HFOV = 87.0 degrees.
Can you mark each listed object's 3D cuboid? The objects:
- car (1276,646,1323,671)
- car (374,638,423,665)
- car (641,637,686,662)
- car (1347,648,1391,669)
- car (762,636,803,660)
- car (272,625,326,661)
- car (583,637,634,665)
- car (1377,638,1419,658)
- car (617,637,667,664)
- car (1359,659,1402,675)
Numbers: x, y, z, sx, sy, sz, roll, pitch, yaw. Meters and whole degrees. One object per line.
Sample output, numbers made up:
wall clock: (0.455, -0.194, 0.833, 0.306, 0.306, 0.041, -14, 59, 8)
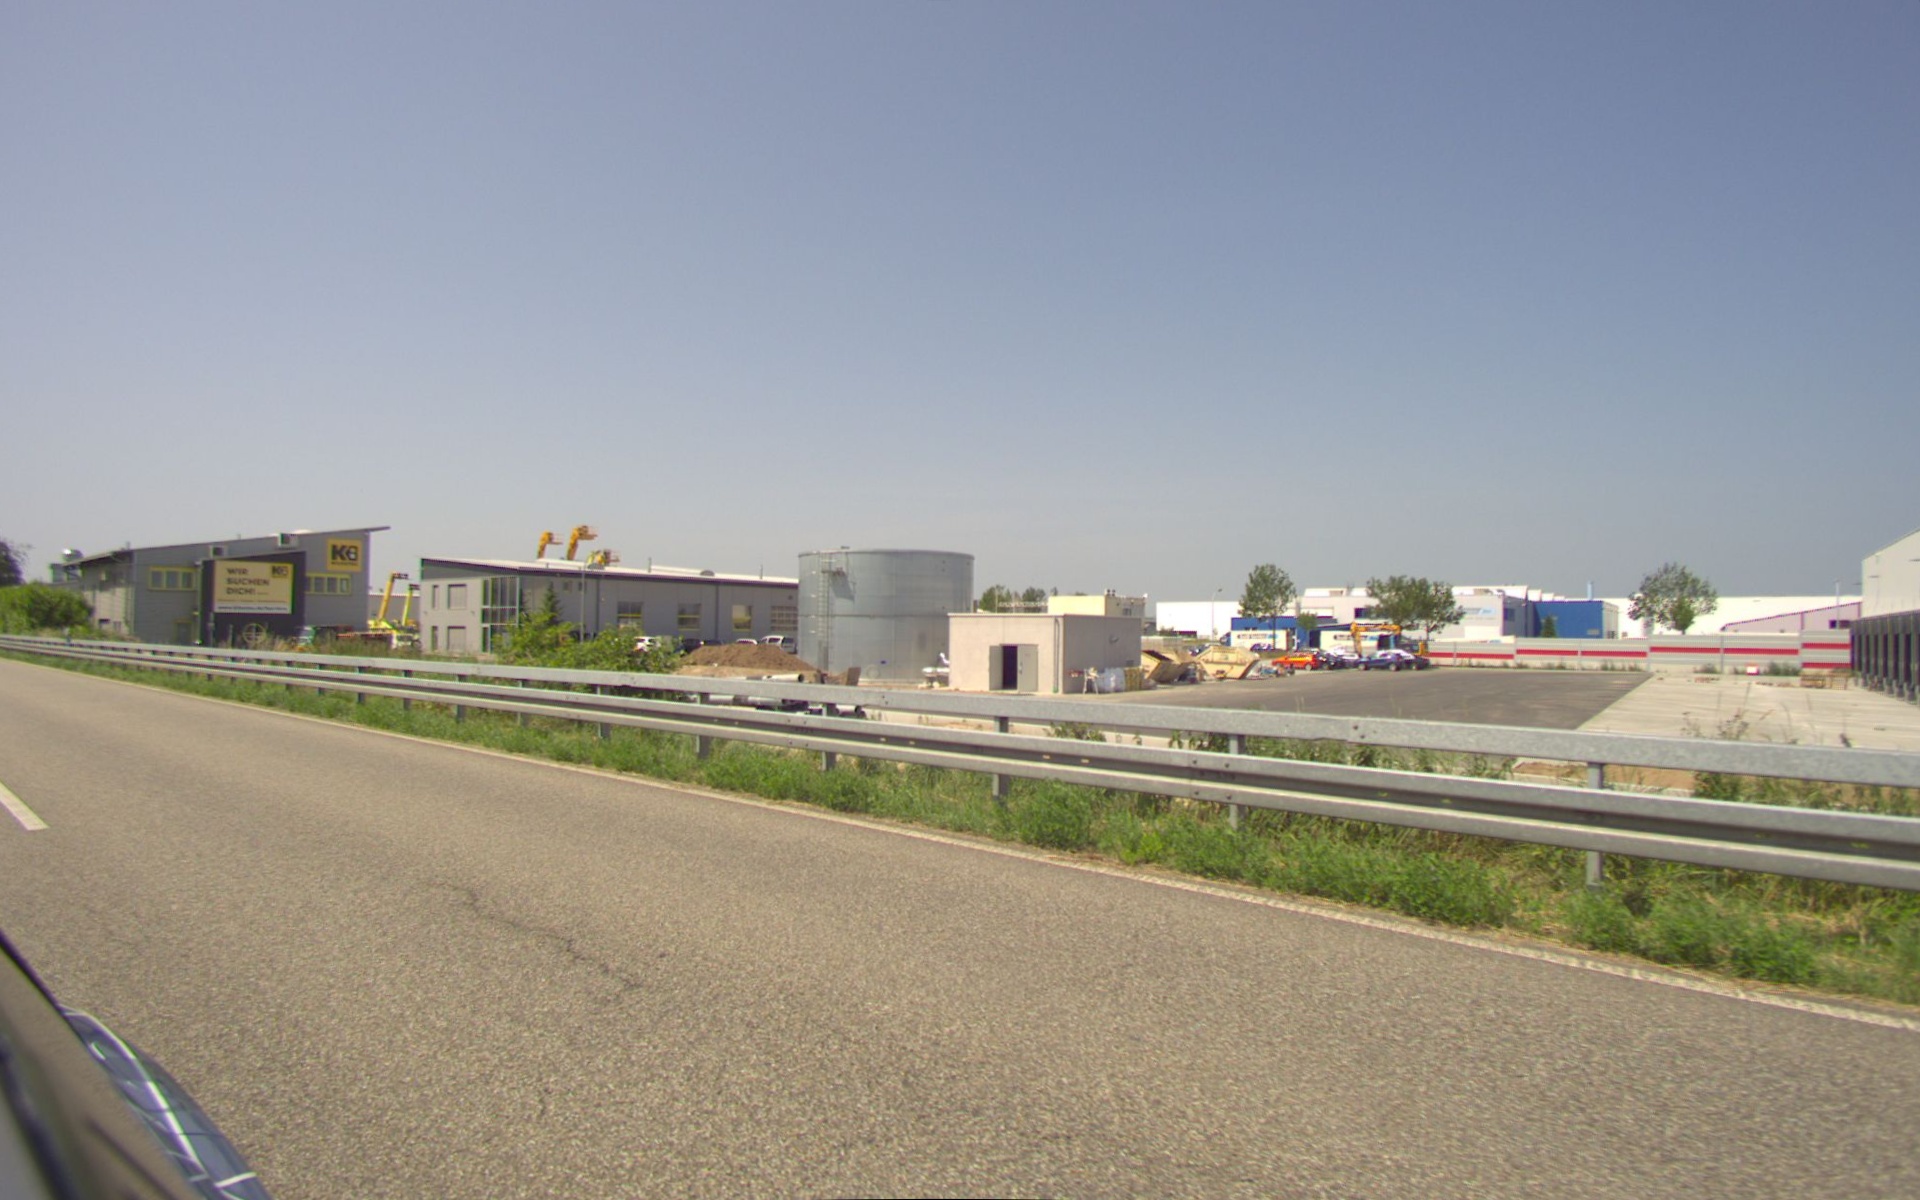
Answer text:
car: (28.748, 4.979, 85.769, 3.458, 2.029, 1.742, -1, -4, 34)
car: (-36.340, 3.335, 65.475, 3.306, 1.686, 1.536, -1, -3, 36)
car: (-23.953, 4.012, 81.700, 3.688, 1.915, 1.810, -1, -5, 42)
car: (39.290, 5.606, 97.152, 3.652, 1.868, 1.742, -1, -4, 34)
car: (-15.987, 4.289, 91.102, 3.599, 2.029, 1.810, -1, 0, 42)
car: (-38.850, 2.535, 59.453, 3.477, 2.029, 1.458, -1, -4, 36)
car: (-26.868, 3.856, 77.323, 3.997, 2.029, 1.973, -1, -2, 40)
car: (40.381, 4.397, 93.309, 3.271, 1.725, 1.742, -1, -4, 34)
car: (-25.015, 3.957, 79.611, 3.997, 2.029, 1.973, -1, -1, 40)
car: (35.792, 5.703, 86.174, 3.115, 1.175, 1.481, -1, -4, 35)
